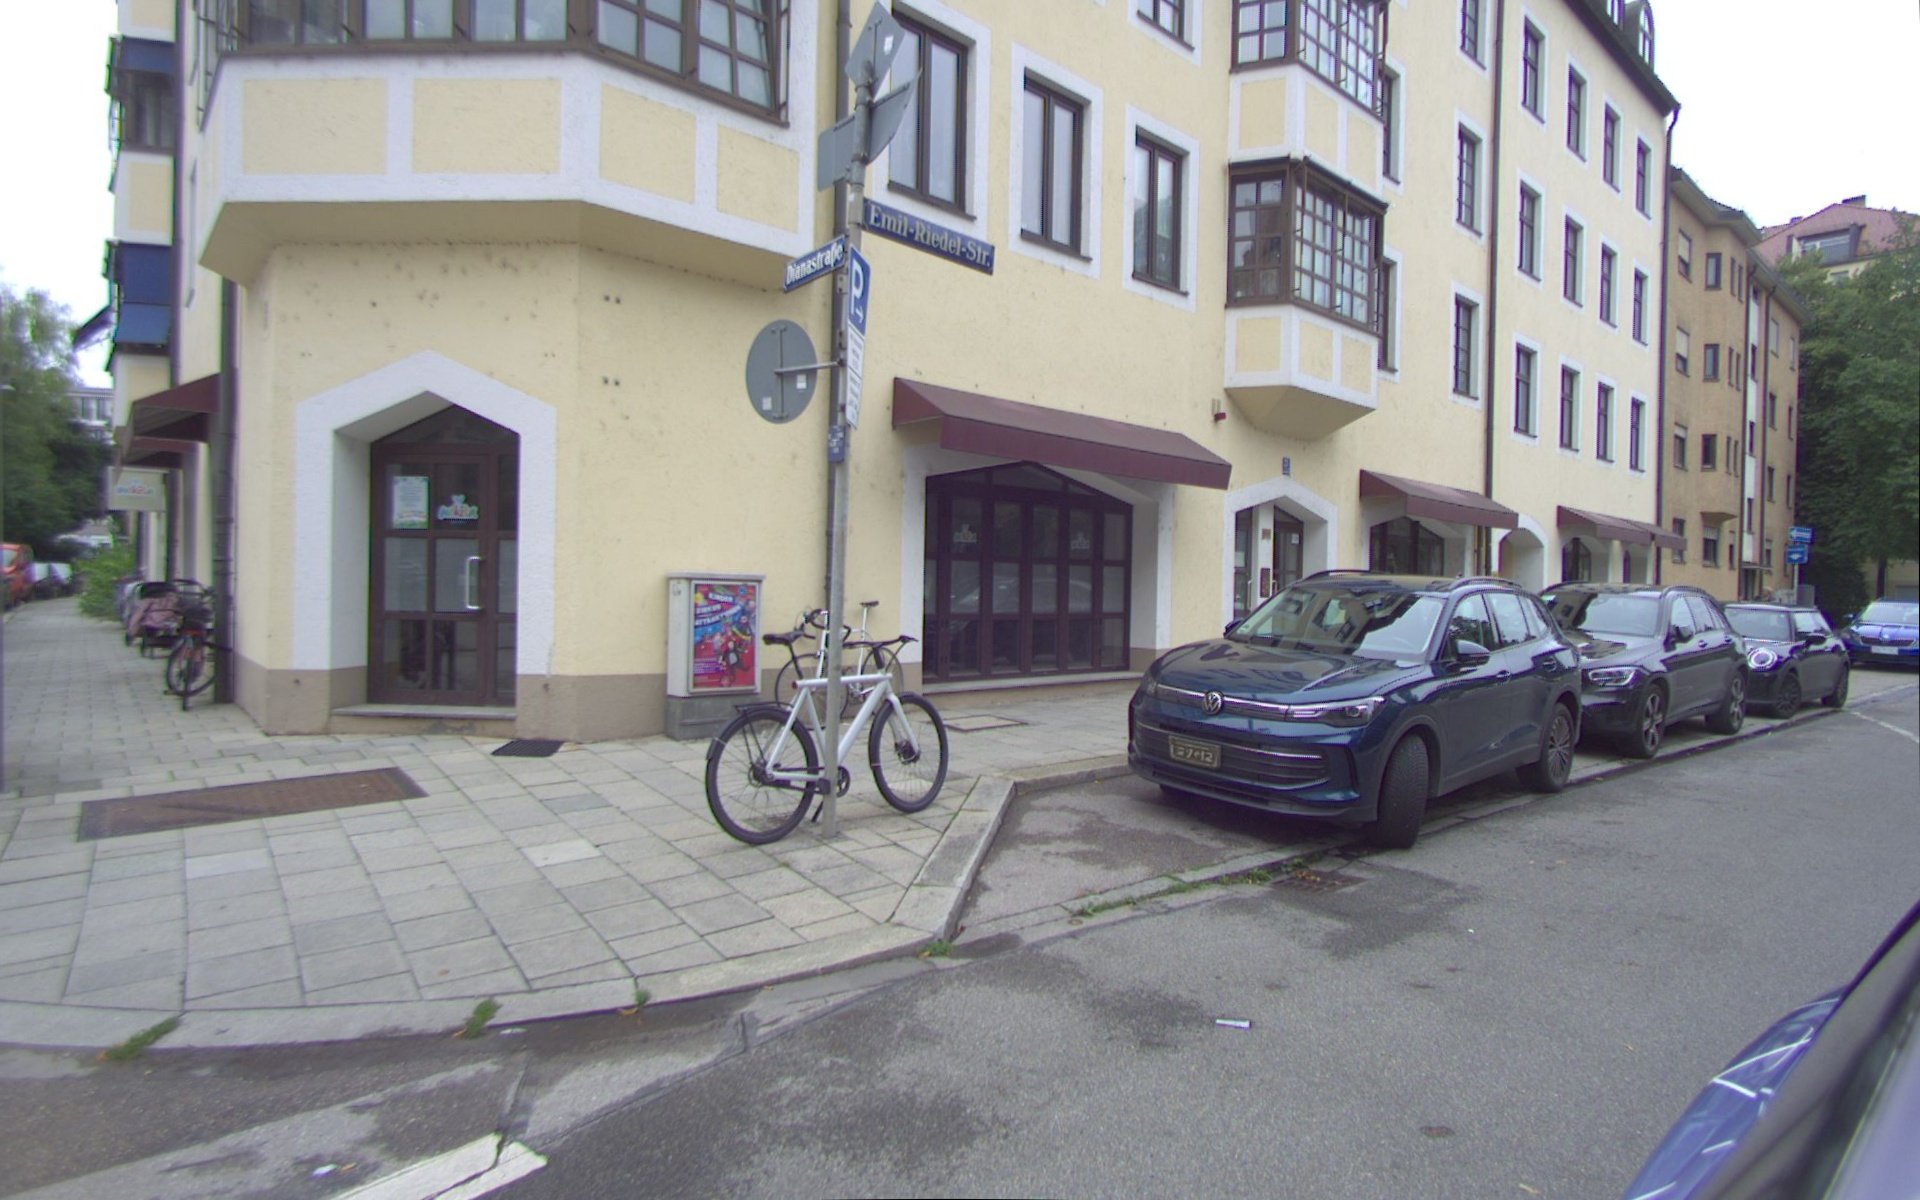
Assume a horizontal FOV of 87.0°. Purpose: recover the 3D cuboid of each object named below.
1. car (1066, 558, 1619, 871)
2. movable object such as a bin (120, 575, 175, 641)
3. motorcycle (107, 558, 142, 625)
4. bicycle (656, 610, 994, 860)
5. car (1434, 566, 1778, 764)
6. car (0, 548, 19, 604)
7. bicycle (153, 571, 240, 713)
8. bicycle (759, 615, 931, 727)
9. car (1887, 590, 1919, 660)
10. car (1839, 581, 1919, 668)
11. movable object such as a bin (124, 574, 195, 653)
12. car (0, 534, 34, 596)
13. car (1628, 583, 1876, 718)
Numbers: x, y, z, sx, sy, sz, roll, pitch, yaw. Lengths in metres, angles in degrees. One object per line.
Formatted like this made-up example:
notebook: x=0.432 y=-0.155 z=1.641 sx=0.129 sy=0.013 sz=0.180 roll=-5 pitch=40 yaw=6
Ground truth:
car: x=3.062 y=0.572 z=7.593 sx=4.420 sy=1.643 sz=2.109 roll=0 pitch=1 yaw=-43
movable object such as a bin: x=-13.554 y=0.115 z=16.877 sx=0.672 sy=1.026 sz=1.125 roll=0 pitch=2 yaw=-41
motorcycle: x=-17.774 y=-0.202 z=21.545 sx=0.547 sy=1.356 sz=1.885 roll=0 pitch=2 yaw=-39
bicycle: x=-0.691 y=0.674 z=5.806 sx=2.018 sy=1.173 sz=0.430 roll=-1 pitch=3 yaw=-42
car: x=7.035 y=0.536 z=10.878 sx=4.089 sy=1.607 sz=1.819 roll=0 pitch=6 yaw=-39
car: x=-29.248 y=-0.715 z=29.866 sx=1.943 sy=1.588 sz=4.426 roll=0 pitch=1 yaw=-40
bicycle: x=-7.261 y=0.344 z=9.597 sx=0.506 sy=1.201 sz=1.903 roll=1 pitch=1 yaw=-41
bicycle: x=-1.022 y=0.619 z=9.293 sx=1.665 sy=0.912 sz=0.262 roll=0 pitch=6 yaw=-41
car: x=24.824 y=0.596 z=25.214 sx=4.533 sy=1.673 sz=1.882 roll=0 pitch=0 yaw=-39
car: x=20.907 y=0.503 z=21.857 sx=5.514 sy=1.672 sz=1.884 roll=0 pitch=3 yaw=-39
movable object such as a bin: x=-11.722 y=0.178 z=14.809 sx=0.754 sy=1.094 sz=1.125 roll=0 pitch=2 yaw=-41
car: x=-32.529 y=-1.168 z=33.797 sx=2.028 sy=2.003 sz=4.428 roll=0 pitch=1 yaw=-38
car: x=10.996 y=0.596 z=13.981 sx=3.860 sy=1.541 sz=1.765 roll=0 pitch=3 yaw=-38
